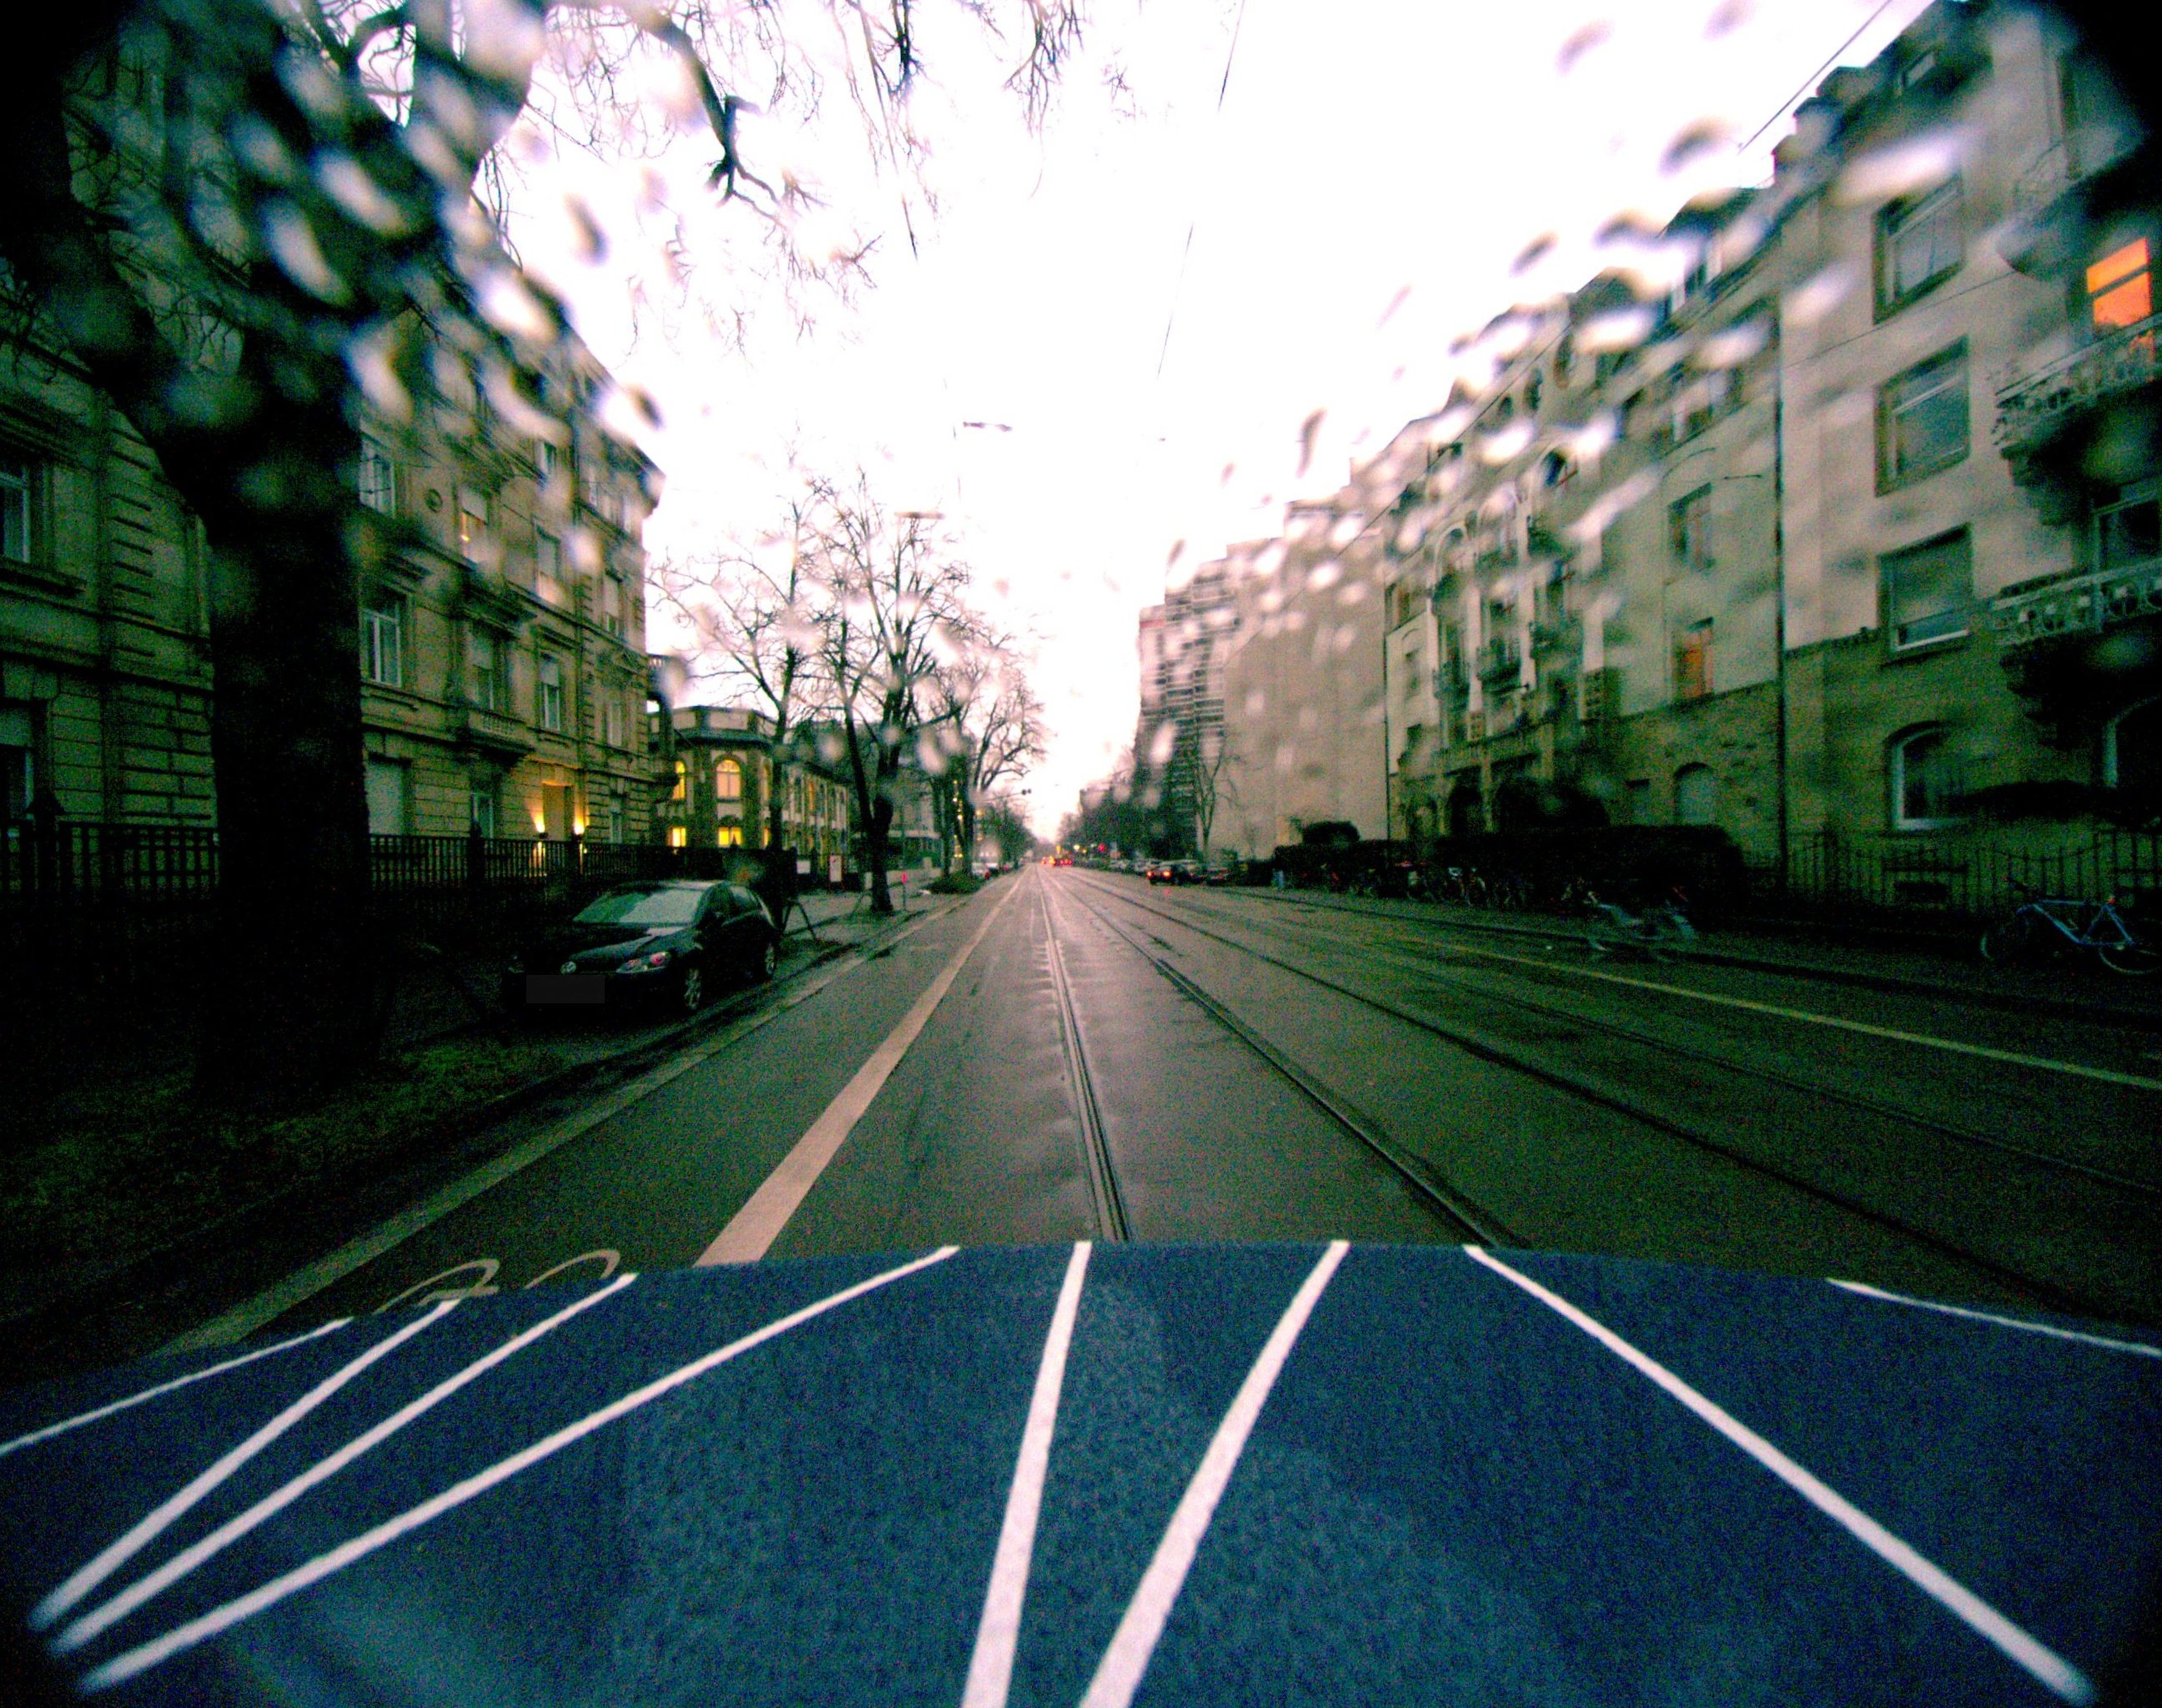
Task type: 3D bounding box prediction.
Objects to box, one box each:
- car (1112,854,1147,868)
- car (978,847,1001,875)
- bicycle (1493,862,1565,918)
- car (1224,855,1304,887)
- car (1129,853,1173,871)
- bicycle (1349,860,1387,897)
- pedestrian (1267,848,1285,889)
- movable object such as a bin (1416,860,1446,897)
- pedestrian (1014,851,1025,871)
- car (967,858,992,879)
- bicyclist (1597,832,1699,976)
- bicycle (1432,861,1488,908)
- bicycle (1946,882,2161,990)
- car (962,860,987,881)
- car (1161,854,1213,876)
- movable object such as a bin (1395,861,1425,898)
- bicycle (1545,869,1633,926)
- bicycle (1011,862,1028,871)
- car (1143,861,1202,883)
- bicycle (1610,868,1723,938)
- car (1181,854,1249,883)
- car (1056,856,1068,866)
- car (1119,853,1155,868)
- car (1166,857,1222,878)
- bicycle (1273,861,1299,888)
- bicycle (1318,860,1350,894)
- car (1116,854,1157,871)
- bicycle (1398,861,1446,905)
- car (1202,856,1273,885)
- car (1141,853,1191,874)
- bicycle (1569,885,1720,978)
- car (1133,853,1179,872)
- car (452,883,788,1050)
[{"bbox_3d":[5.892,0.796,91.359,4.008,1.586,1.864,-2,0,-40],"label":"car"},{"bbox_3d":[-9.226,0.658,76.852,2.094,2.622,5.446,-2,1,-6],"label":"car"},{"bbox_3d":[10.209,0.793,17.383,0.625,1.205,1.662,-1,0,-1],"label":"bicycle"},{"bbox_3d":[9.764,0.883,40.475,4.006,1.485,1.865,-2,0,-32],"label":"car"},{"bbox_3d":[6.696,0.768,72.534,4.008,1.586,1.864,-2,0,-40],"label":"car"},{"bbox_3d":[9.806,0.819,25.981,0.625,1.205,1.662,-1,0,-1],"label":"bicycle"},{"bbox_3d":[8.452,0.632,32.952,0.574,1.715,0.644,-3,2,1],"label":"pedestrian"},{"bbox_3d":[11.280,0.787,24.489,0.625,1.157,0.674,-1,0,-1],"label":"movable object such as a bin"},{"bbox_3d":[-7.078,0.848,87.541,1.118,2.246,0.952,-2,1,-6],"label":"pedestrian"},{"bbox_3d":[-8.911,1.236,66.831,2.000,1.672,3.997,-2,1,-6],"label":"car"},{"bbox_3d":[7.734,0.656,10.405,0.625,1.865,0.991,-1,0,-1],"label":"bicyclist"},{"bbox_3d":[9.986,0.783,20.069,0.625,1.157,1.662,-1,0,-1],"label":"bicycle"},{"bbox_3d":[10.778,0.845,8.350,0.625,0.997,1.662,-1,0,-1],"label":"bicycle"},{"bbox_3d":[-7.931,1.216,56.851,1.628,1.399,3.997,-2,1,-6],"label":"car"},{"bbox_3d":[8.486,0.840,60.490,4.008,1.586,1.864,-2,0,-40],"label":"car"},{"bbox_3d":[10.590,0.807,24.498,0.659,1.157,0.674,-1,0,-1],"label":"movable object such as a bin"},{"bbox_3d":[10.379,0.862,15.605,0.625,1.059,1.726,-1,0,-1],"label":"bicycle"},{"bbox_3d":[-7.059,1.452,87.554,1.918,0.986,0.858,-2,1,-5],"label":"bicycle"},{"bbox_3d":[5.629,1.047,46.429,1.707,1.245,3.674,0,0,43],"label":"car"},{"bbox_3d":[10.449,0.839,13.647,0.625,1.119,1.783,-1,0,-1],"label":"bicycle"},{"bbox_3d":[8.121,0.860,45.997,4.008,1.586,1.864,-2,0,-40],"label":"car"},{"bbox_3d":[-3.903,1.410,155.317,2.239,2.002,4.458,-2,1,-5],"label":"car"},{"bbox_3d":[6.620,0.735,89.242,4.008,1.586,1.864,-2,0,-40],"label":"car"},{"bbox_3d":[8.429,0.980,56.579,4.008,1.440,1.864,-2,0,-40],"label":"car"},{"bbox_3d":[9.089,0.895,33.766,0.625,1.157,1.662,-2,0,-1],"label":"bicycle"},{"bbox_3d":[9.500,0.836,28.553,0.625,1.205,1.662,-1,0,-1],"label":"bicycle"},{"bbox_3d":[5.702,0.892,77.764,4.008,1.586,1.864,-2,0,-40],"label":"car"},{"bbox_3d":[9.944,0.823,22.219,0.625,1.205,1.662,-1,0,-1],"label":"bicycle"},{"bbox_3d":[8.884,0.904,42.936,4.008,1.477,1.760,-2,0,-40],"label":"car"},{"bbox_3d":[7.035,0.795,62.854,4.008,1.586,1.864,-2,0,-40],"label":"car"},{"bbox_3d":[7.749,1.014,10.579,0.625,1.086,1.947,-1,0,-1],"label":"bicycle"},{"bbox_3d":[6.909,0.783,69.478,4.008,1.586,1.864,-2,0,-40],"label":"car"},{"bbox_3d":[-5.101,1.130,9.190,1.762,1.437,4.156,1,-1,-4],"label":"car"}]
